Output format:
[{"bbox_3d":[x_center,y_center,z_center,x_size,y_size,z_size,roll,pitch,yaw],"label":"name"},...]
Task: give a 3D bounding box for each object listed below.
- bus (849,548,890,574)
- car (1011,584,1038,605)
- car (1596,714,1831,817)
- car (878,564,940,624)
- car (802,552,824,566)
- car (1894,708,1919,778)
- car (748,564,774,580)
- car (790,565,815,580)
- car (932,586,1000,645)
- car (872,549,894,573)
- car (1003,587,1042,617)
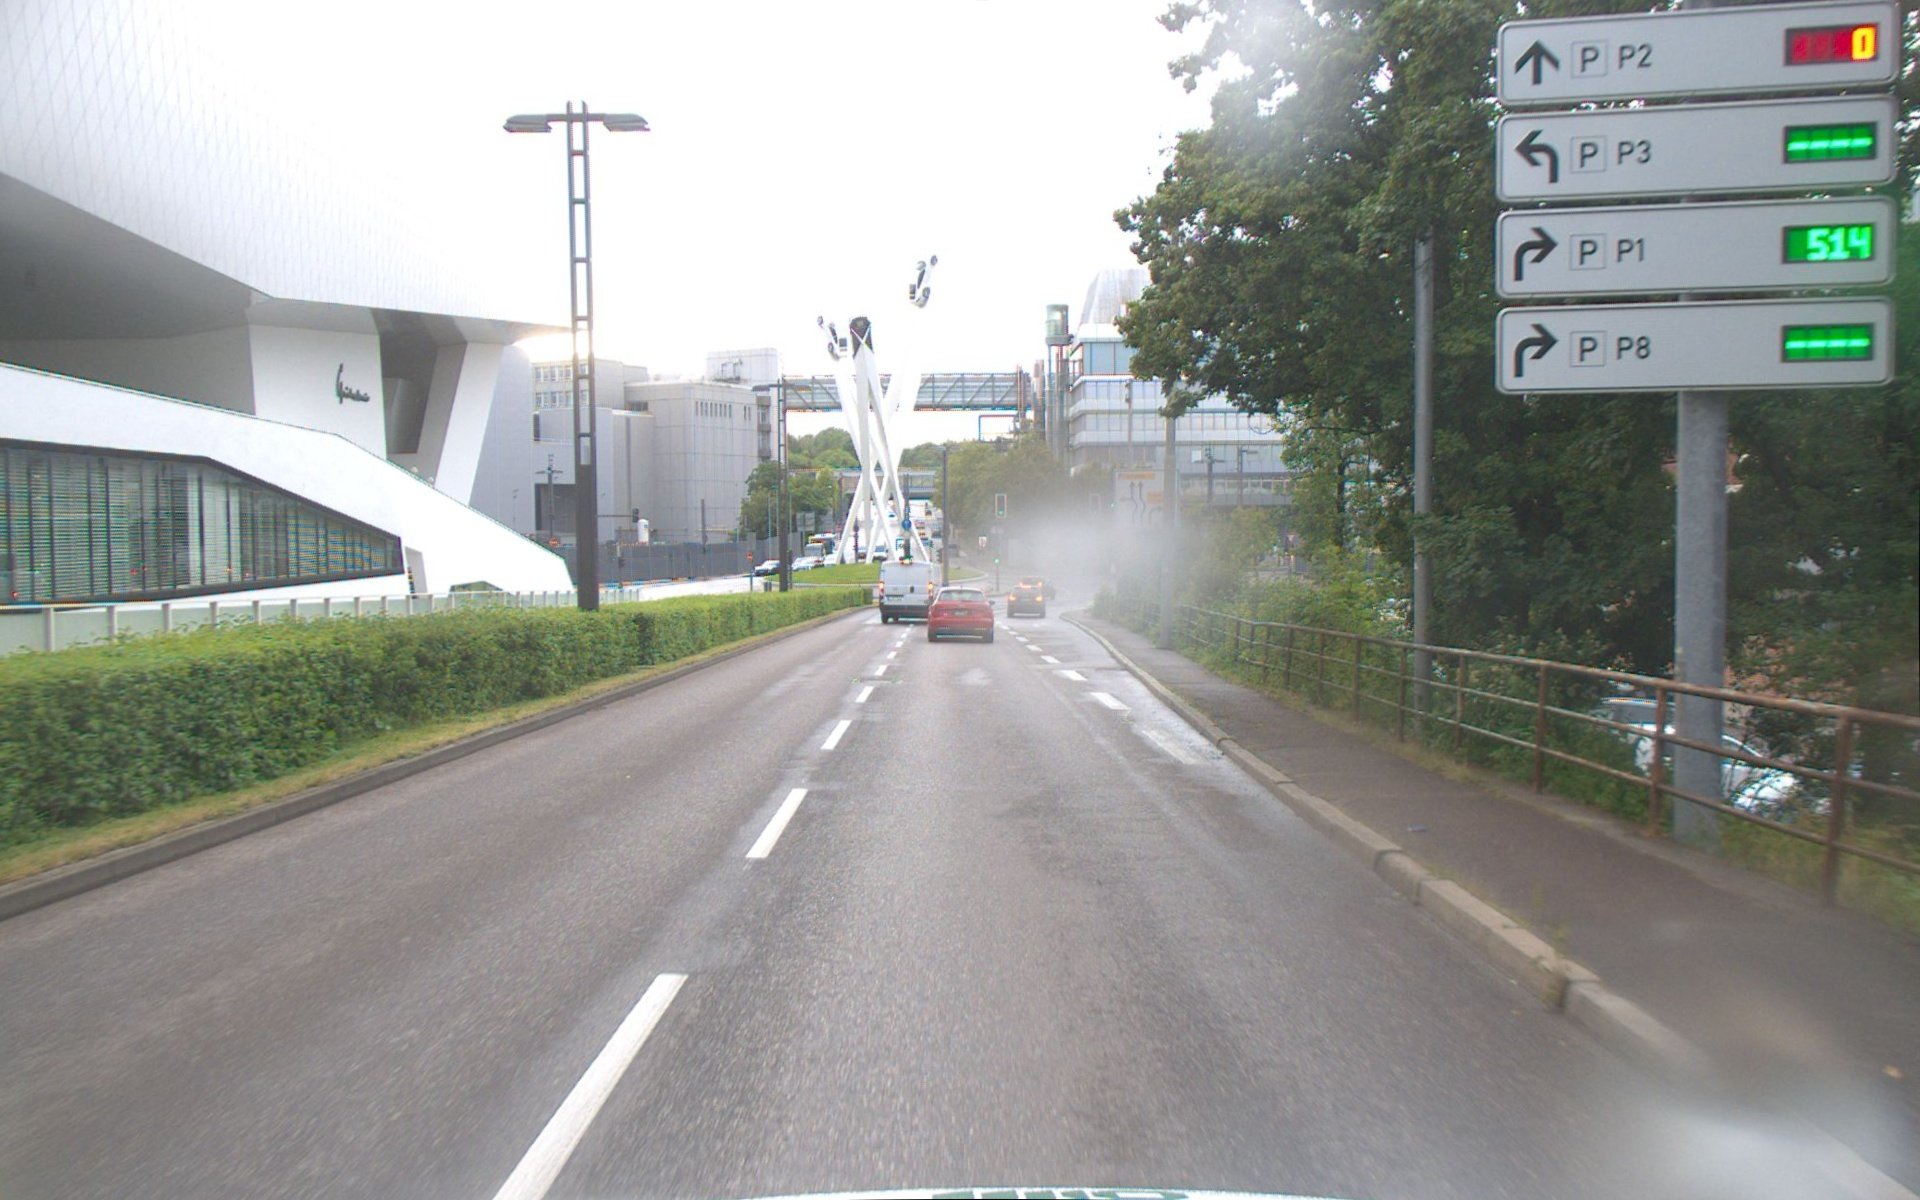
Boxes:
[{"bbox_3d":[-11.453,-4.949,210.867,2.612,3.256,12.681,0,1,9],"label":"bus"},{"bbox_3d":[4.067,-0.338,105.138,1.525,1.311,3.413,0,0,-1],"label":"car"},{"bbox_3d":[13.641,2.985,30.048,3.485,1.328,1.549,7,0,-4],"label":"car"},{"bbox_3d":[-1.889,-0.248,61.996,2.187,2.144,4.953,0,0,-1],"label":"car"},{"bbox_3d":[-15.832,-4.381,178.389,1.795,1.498,4.515,0,1,1],"label":"car"},{"bbox_3d":[23.028,3.336,36.981,1.667,1.512,3.847,0,1,-11],"label":"car"},{"bbox_3d":[-19.044,-2.715,158.332,1.795,1.498,4.515,0,1,1],"label":"car"},{"bbox_3d":[-15.076,-2.649,158.599,1.807,1.361,4.002,0,1,3],"label":"car"},{"bbox_3d":[0.135,0.397,44.092,1.736,1.490,3.732,0,0,-1],"label":"car"},{"bbox_3d":[-8.151,-4.152,176.503,1.952,2.489,5.428,-1,1,1],"label":"car"},{"bbox_3d":[2.780,0.094,74.085,1.577,1.313,3.566,0,0,-1],"label":"car"}]
